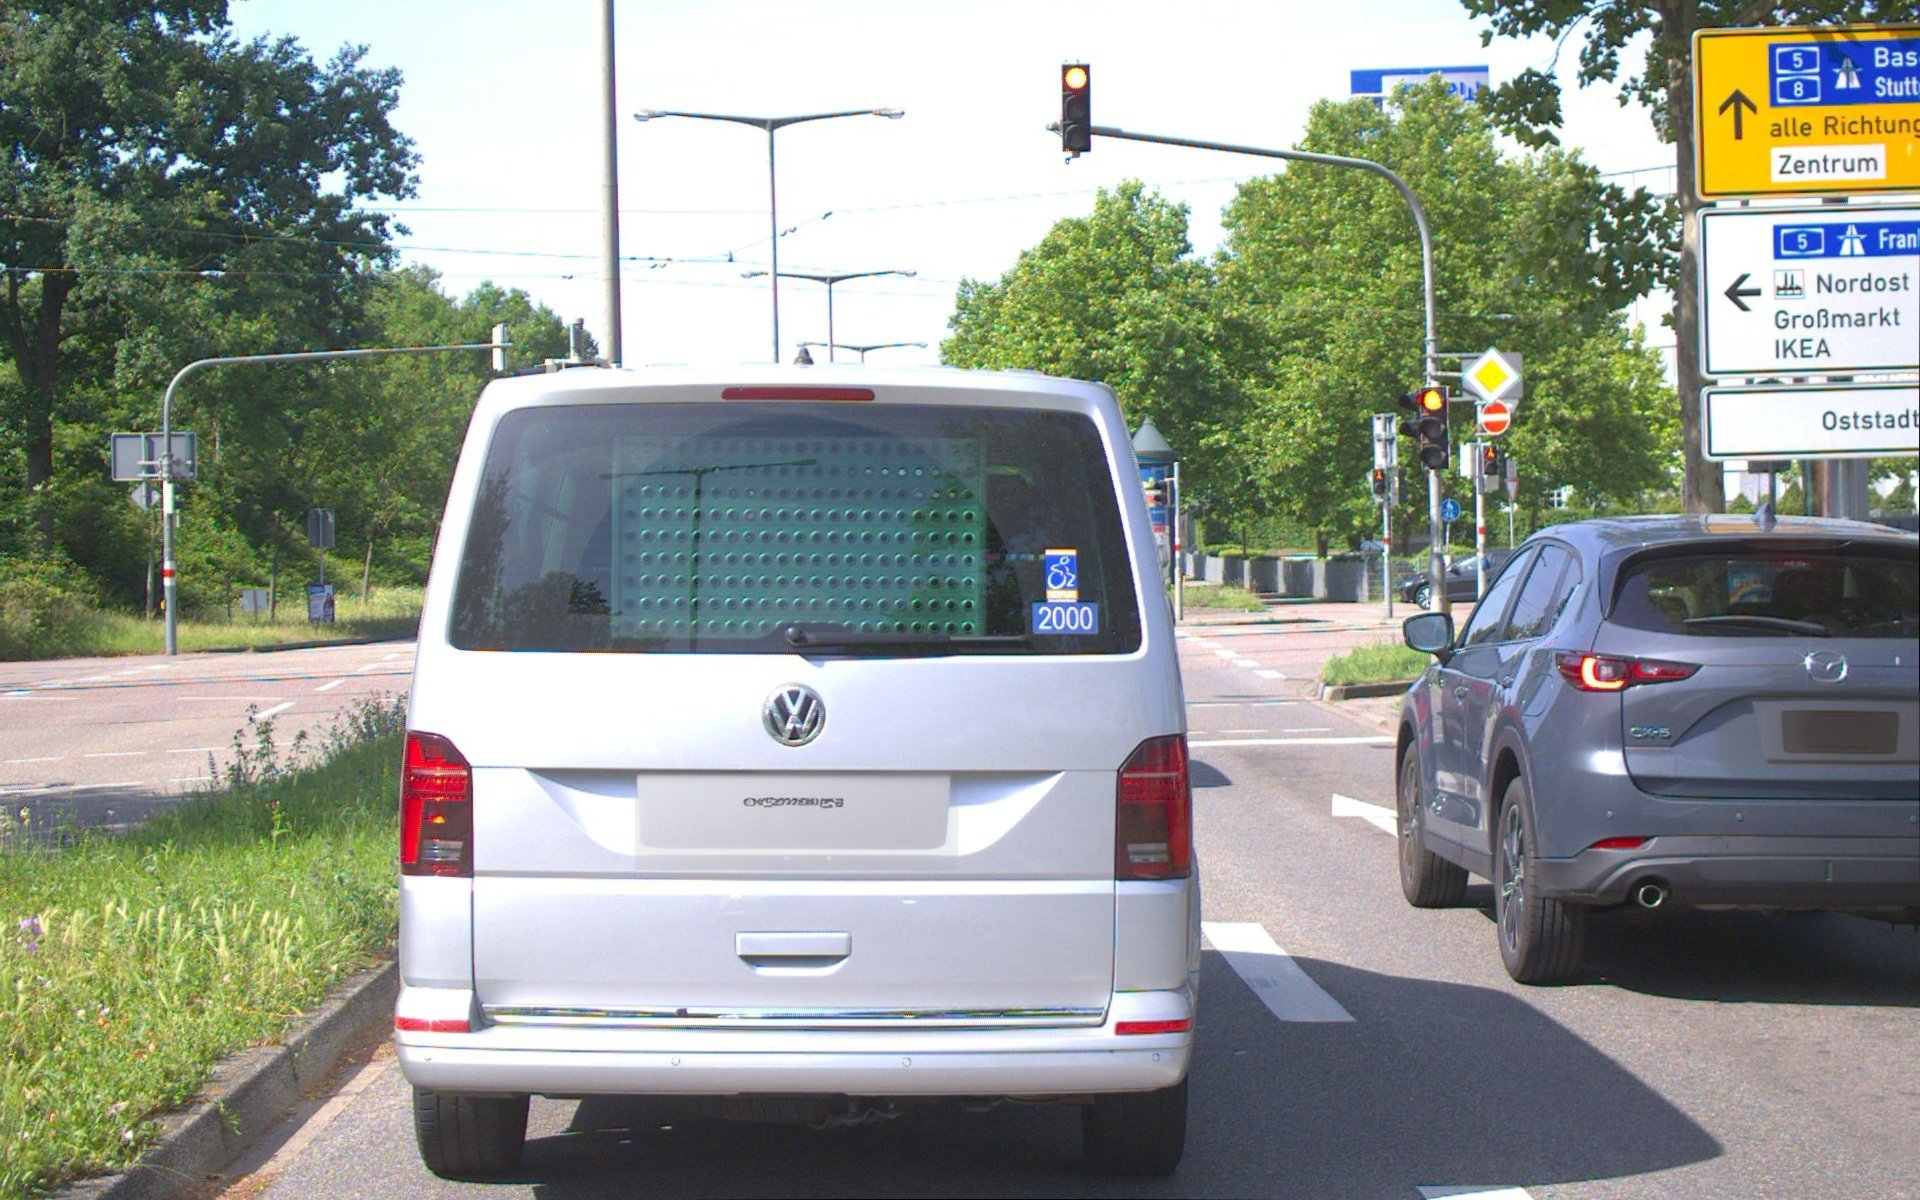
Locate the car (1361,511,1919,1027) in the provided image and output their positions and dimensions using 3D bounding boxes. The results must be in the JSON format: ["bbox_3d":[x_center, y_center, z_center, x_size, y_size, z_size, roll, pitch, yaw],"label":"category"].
[{"bbox_3d":[2.763,0.521,13.334,1.766,1.653,4.496,1,1,-1],"label":"car"}]

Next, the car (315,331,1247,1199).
[{"bbox_3d":[-0.402,0.392,9.740,1.941,1.965,5.022,-1,1,-1],"label":"car"}]

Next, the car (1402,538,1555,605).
[{"bbox_3d":[12.635,-0.693,83.615,3.597,1.560,1.999,1,0,11],"label":"car"}]

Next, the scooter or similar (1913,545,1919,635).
[{"bbox_3d":[12.130,-0.124,42.331,0.424,1.122,1.124,-1,1,-1],"label":"scooter or similar"}]

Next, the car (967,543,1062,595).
[{"bbox_3d":[1.569,-0.897,100.360,1.775,1.439,4.628,-2,1,-12],"label":"car"}]

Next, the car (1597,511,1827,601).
[{"bbox_3d":[15.055,-0.892,68.750,4.613,1.683,1.915,-2,1,-37],"label":"car"}]

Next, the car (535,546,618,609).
[{"bbox_3d":[-9.890,-0.595,88.893,1.849,1.556,4.001,-1,1,-3],"label":"car"}]
